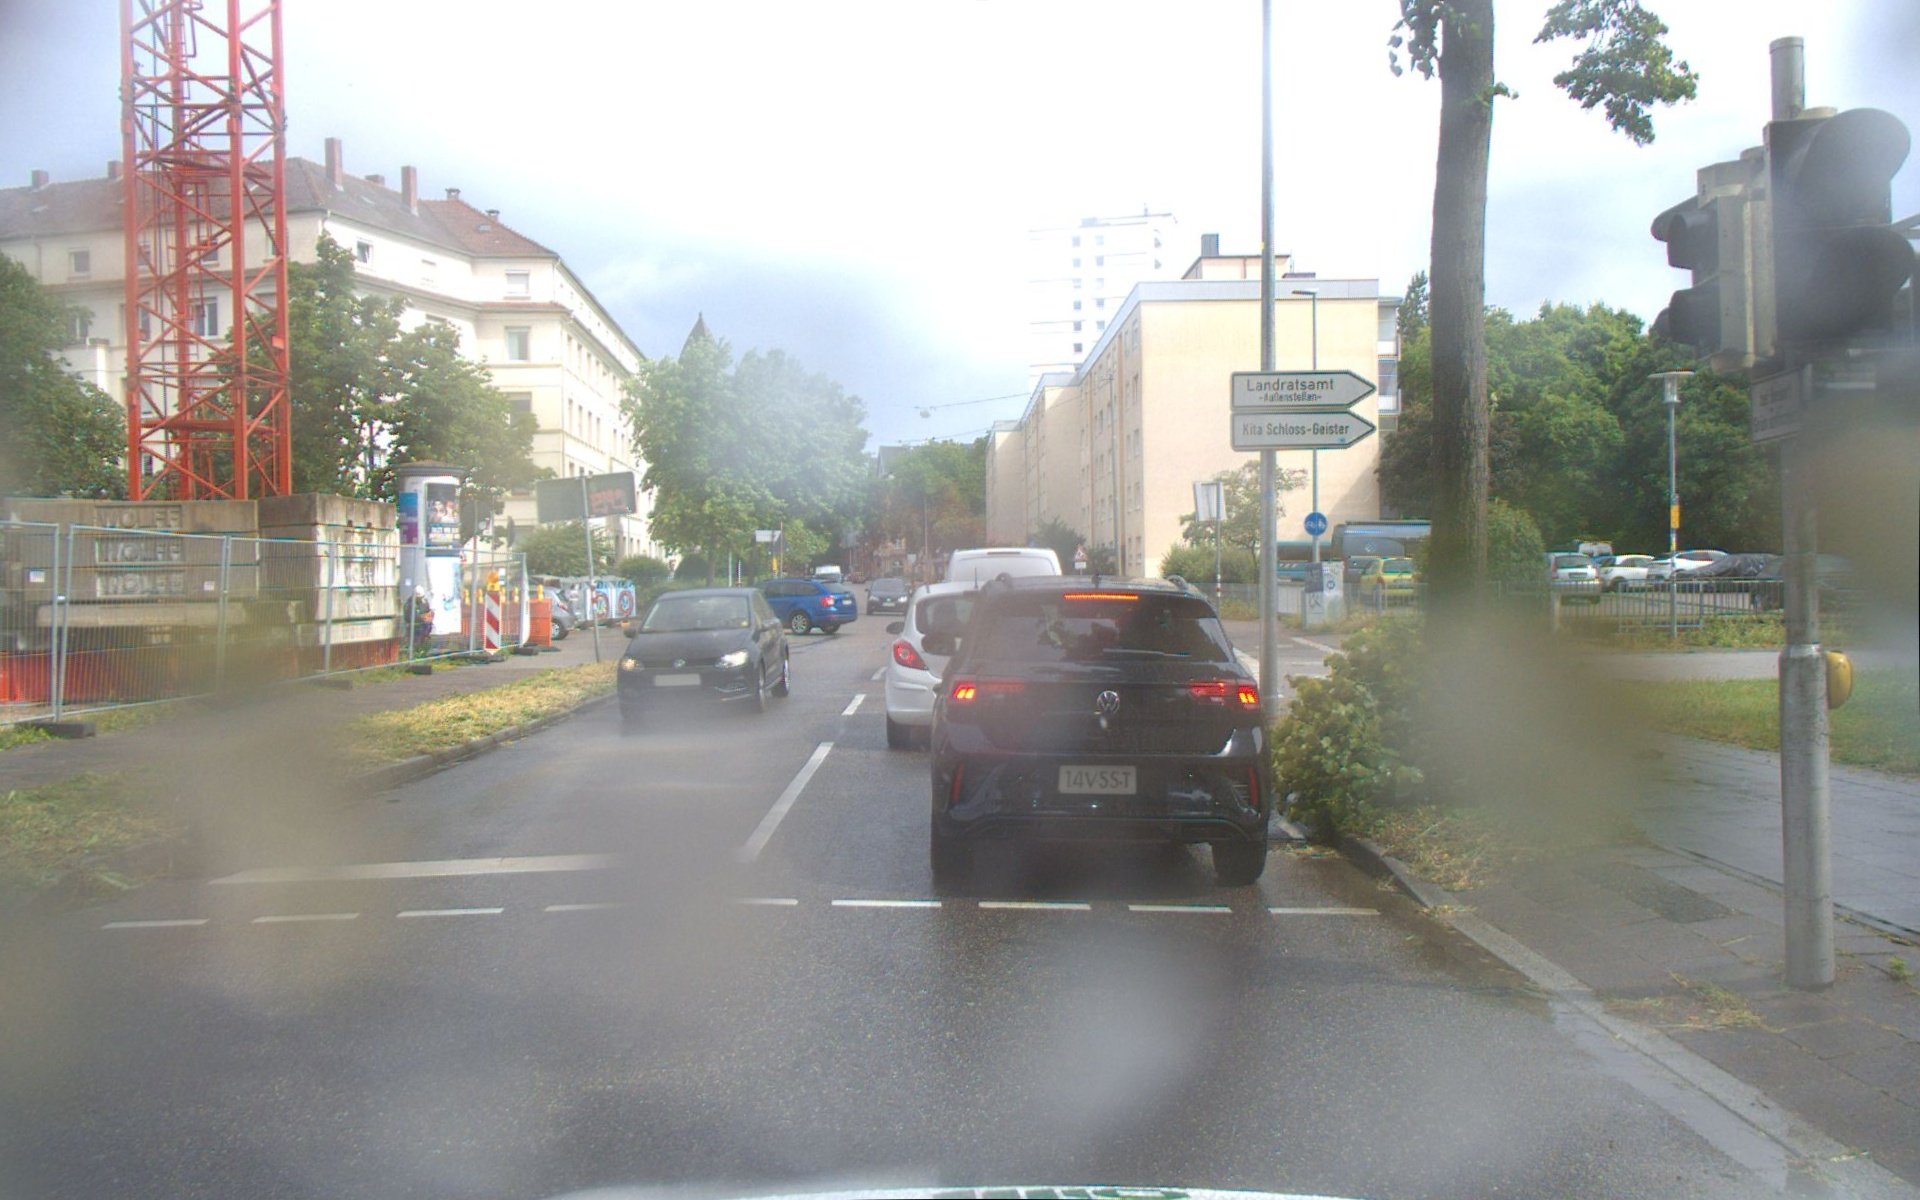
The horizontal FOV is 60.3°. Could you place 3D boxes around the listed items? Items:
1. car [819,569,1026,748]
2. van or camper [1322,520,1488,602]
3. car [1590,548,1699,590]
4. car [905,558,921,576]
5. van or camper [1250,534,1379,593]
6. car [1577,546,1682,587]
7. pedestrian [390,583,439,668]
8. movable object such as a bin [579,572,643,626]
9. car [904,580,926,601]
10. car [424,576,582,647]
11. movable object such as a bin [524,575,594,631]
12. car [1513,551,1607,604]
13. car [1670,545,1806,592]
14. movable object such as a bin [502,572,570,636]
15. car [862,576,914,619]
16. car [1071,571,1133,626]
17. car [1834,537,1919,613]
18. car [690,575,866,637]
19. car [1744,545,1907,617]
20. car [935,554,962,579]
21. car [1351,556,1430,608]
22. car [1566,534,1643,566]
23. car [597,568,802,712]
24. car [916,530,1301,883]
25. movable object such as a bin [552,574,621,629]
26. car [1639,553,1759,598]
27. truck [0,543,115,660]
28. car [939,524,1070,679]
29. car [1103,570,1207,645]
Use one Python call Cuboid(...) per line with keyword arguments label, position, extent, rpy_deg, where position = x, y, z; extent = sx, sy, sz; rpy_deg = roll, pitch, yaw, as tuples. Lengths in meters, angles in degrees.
Cuboid(label="car", position=(-0.338, 0.509, 16.366), extent=(1.776, 1.529, 3.999), rpy_deg=(1, 0, -1))
Cuboid(label="van or camper", position=(14.686, -1.262, 54.743), extent=(4.895, 2.599, 2.175), rpy_deg=(-1, 0, 1))
Cuboid(label="car", position=(26.890, -1.225, 65.071), extent=(3.590, 1.512, 1.640), rpy_deg=(-2, 1, 3))
Cuboid(label="car", position=(-5.166, -3.610, 181.626), extent=(1.632, 1.869, 3.998), rpy_deg=(-2, 1, -3))
Cuboid(label="van or camper", position=(13.914, -1.439, 65.145), extent=(4.660, 2.168, 2.323), rpy_deg=(-1, 1, 3))
Cuboid(label="car", position=(27.265, -1.355, 67.399), extent=(3.590, 1.512, 1.640), rpy_deg=(-2, 1, 3))
Cuboid(label="pedestrian", position=(-10.716, 0.492, 32.476), extent=(0.716, 1.658, 0.675), rpy_deg=(1, 0, -38))
Cuboid(label="movable object such as a bin", position=(-11.601, -0.043, 55.076), extent=(1.505, 1.691, 1.460), rpy_deg=(-1, 1, 18))
Cuboid(label="car", position=(-3.832, -0.806, 140.976), extent=(1.705, 1.636, 3.676), rpy_deg=(-3, 1, 1))
Cuboid(label="car", position=(-12.572, 0.319, 45.699), extent=(3.915, 1.665, 1.891), rpy_deg=(-4, -1, -10))
Cuboid(label="movable object such as a bin", position=(-12.599, 0.089, 51.986), extent=(1.505, 1.685, 1.529), rpy_deg=(-1, 1, 18))
Cuboid(label="car", position=(18.307, -0.707, 50.599), extent=(1.614, 1.512, 3.720), rpy_deg=(-2, 1, 2))
Cuboid(label="car", position=(26.930, -1.095, 57.331), extent=(3.892, 1.490, 1.673), rpy_deg=(-2, 1, 1))
Cuboid(label="movable object such as a bin", position=(-12.934, 0.116, 50.441), extent=(1.505, 1.856, 1.264), rpy_deg=(-1, 1, 18))
Cuboid(label="car", position=(-2.910, -0.128, 67.522), extent=(1.803, 1.636, 4.001), rpy_deg=(-3, 1, 1))
Cuboid(label="car", position=(4.323, -0.012, 50.903), extent=(1.720, 1.554, 4.001), rpy_deg=(2, -1, 3))
Cuboid(label="car", position=(22.860, -0.632, 39.594), extent=(1.814, 1.708, 4.426), rpy_deg=(-2, 1, 5))
Cuboid(label="car", position=(-4.870, 0.147, 44.384), extent=(4.340, 1.612, 1.822), rpy_deg=(0, 1, 19))
Cuboid(label="car", position=(20.436, -0.469, 39.281), extent=(1.790, 1.553, 4.426), rpy_deg=(-2, 1, 4))
Cuboid(label="car", position=(-0.830, -2.393, 118.827), extent=(1.803, 1.636, 3.676), rpy_deg=(-3, 1, 1))
Cuboid(label="car", position=(13.244, -0.564, 51.054), extent=(1.577, 1.474, 3.417), rpy_deg=(-2, 1, 1))
Cuboid(label="car", position=(31.518, -2.430, 80.957), extent=(3.158, 1.422, 1.509), rpy_deg=(-2, 1, 3))
Cuboid(label="car", position=(-3.050, 0.442, 20.133), extent=(1.776, 1.567, 3.982), rpy_deg=(0, 0, 1))
Cuboid(label="car", position=(0.694, 0.509, 9.971), extent=(1.835, 1.674, 4.061), rpy_deg=(1, 0, -1))
Cuboid(label="movable object such as a bin", position=(-12.086, 0.034, 53.554), extent=(1.505, 1.703, 1.667), rpy_deg=(-1, 1, 18))
Cuboid(label="car", position=(26.686, -0.890, 59.770), extent=(3.590, 1.512, 1.640), rpy_deg=(-2, 1, 3))
Cuboid(label="truck", position=(-30.351, -0.013, 48.498), extent=(9.602, 3.239, 3.796), rpy_deg=(0, 1, 11))
Cuboid(label="car", position=(0.674, 0.029, 25.121), extent=(1.798, 2.139, 4.001), rpy_deg=(1, 0, 1))
Cuboid(label="car", position=(4.582, 0.132, 39.388), extent=(1.738, 1.566, 4.377), rpy_deg=(-3, 1, -2))
